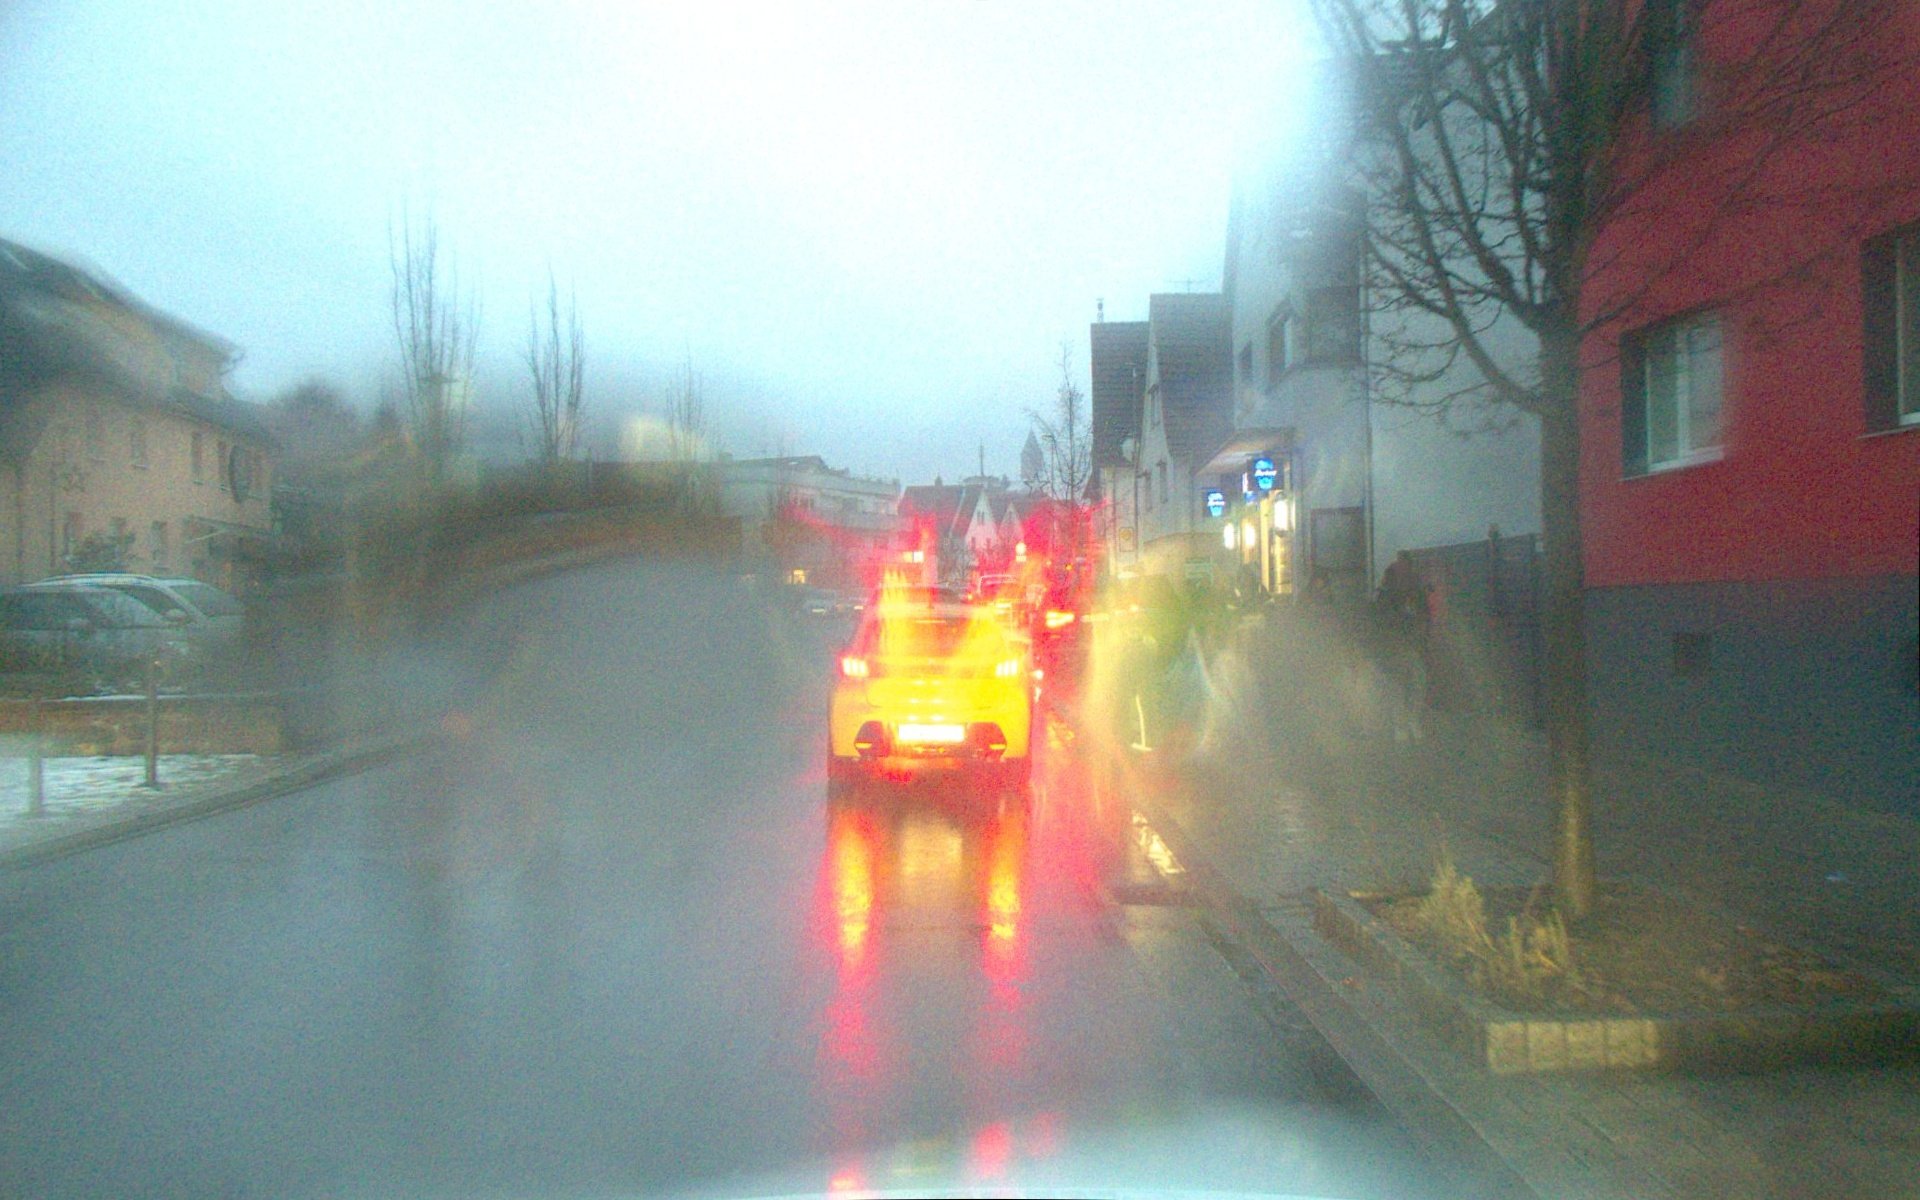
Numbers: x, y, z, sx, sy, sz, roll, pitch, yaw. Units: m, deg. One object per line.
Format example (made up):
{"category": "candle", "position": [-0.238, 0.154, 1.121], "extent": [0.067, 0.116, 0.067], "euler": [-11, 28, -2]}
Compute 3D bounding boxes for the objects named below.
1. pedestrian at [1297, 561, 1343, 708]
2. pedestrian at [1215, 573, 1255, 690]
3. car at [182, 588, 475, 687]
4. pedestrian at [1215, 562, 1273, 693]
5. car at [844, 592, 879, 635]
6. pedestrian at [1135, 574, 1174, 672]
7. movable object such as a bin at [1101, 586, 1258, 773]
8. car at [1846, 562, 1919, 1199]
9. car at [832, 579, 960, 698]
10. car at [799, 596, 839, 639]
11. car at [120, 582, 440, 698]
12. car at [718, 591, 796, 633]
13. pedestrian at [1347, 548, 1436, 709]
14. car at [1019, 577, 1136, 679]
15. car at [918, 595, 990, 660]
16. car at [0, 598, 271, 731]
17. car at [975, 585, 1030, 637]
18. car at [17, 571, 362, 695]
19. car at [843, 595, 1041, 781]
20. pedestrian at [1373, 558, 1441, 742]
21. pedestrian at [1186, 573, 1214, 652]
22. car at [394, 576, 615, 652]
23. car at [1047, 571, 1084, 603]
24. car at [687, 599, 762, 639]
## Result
{"category": "pedestrian", "position": [4.594, 0.426, 21.130], "extent": [0.517, 1.832, 0.865], "euler": [0, 0, 9]}
{"category": "pedestrian", "position": [4.013, 0.445, 24.109], "extent": [0.469, 1.659, 1.020], "euler": [-2, 1, 12]}
{"category": "car", "position": [-10.309, 0.625, 27.205], "extent": [4.042, 1.524, 1.879], "euler": [1, -2, 1]}
{"category": "pedestrian", "position": [3.913, 0.363, 22.765], "extent": [0.697, 1.745, 1.035], "euler": [-2, 1, 12]}
{"category": "car", "position": [-5.514, 0.790, 93.070], "extent": [1.881, 2.254, 3.972], "euler": [1, -2, -3]}
{"category": "pedestrian", "position": [3.502, 0.407, 29.778], "extent": [0.561, 1.729, 0.653], "euler": [-2, -1, 0]}
{"category": "movable object such as a bin", "position": [1.864, 0.646, 14.282], "extent": [1.106, 1.445, 1.417], "euler": [-4, 1, 1]}
{"category": "car", "position": [2.772, 0.642, 1.487], "extent": [1.693, 1.490, 4.199], "euler": [-3, 0, 1]}
{"category": "car", "position": [-0.902, 0.536, 25.148], "extent": [1.730, 1.657, 3.586], "euler": [1, 0, 1]}
{"category": "car", "position": [-7.230, 0.934, 85.171], "extent": [1.881, 2.063, 3.972], "euler": [1, -2, -3]}
{"category": "car", "position": [-9.878, 0.573, 24.190], "extent": [4.008, 1.636, 1.587], "euler": [0, -1, 2]}
{"category": "car", "position": [-11.295, 0.683, 91.894], "extent": [4.310, 2.204, 1.987], "euler": [-1, -3, 43]}
{"category": "pedestrian", "position": [4.786, 0.319, 18.413], "extent": [0.731, 1.708, 1.052], "euler": [-2, -1, 5]}
{"category": "car", "position": [2.096, 0.483, 30.631], "extent": [1.700, 1.722, 4.384], "euler": [-1, 0, -2]}
{"category": "car", "position": [-0.161, 0.586, 37.153], "extent": [1.510, 1.355, 3.310], "euler": [1, 0, -1]}
{"category": "car", "position": [-9.864, 0.712, 18.797], "extent": [3.375, 1.396, 1.600], "euler": [-1, 0, -2]}
{"category": "car", "position": [1.570, 0.418, 62.531], "extent": [1.957, 1.897, 4.082], "euler": [0, -1, -1]}
{"category": "car", "position": [-9.992, 0.416, 21.604], "extent": [3.713, 1.549, 1.716], "euler": [0, -1, 5]}
{"category": "car", "position": [-0.162, 0.684, 14.445], "extent": [1.531, 1.437, 3.017], "euler": [1, 0, -1]}
{"category": "pedestrian", "position": [4.221, 0.473, 15.655], "extent": [0.517, 1.682, 0.954], "euler": [0, -2, 9]}
{"category": "pedestrian", "position": [5.434, 0.281, 37.391], "extent": [0.605, 1.757, 0.502], "euler": [0, -2, 11]}
{"category": "car", "position": [-10.353, 0.322, 37.894], "extent": [4.533, 1.697, 1.998], "euler": [0, -1, -4]}
{"category": "car", "position": [6.958, -0.824, 109.030], "extent": [1.830, 1.867, 4.447], "euler": [0, -2, 12]}
{"category": "car", "position": [-12.627, 1.041, 88.492], "extent": [4.096, 2.011, 1.811], "euler": [-1, -3, 43]}
